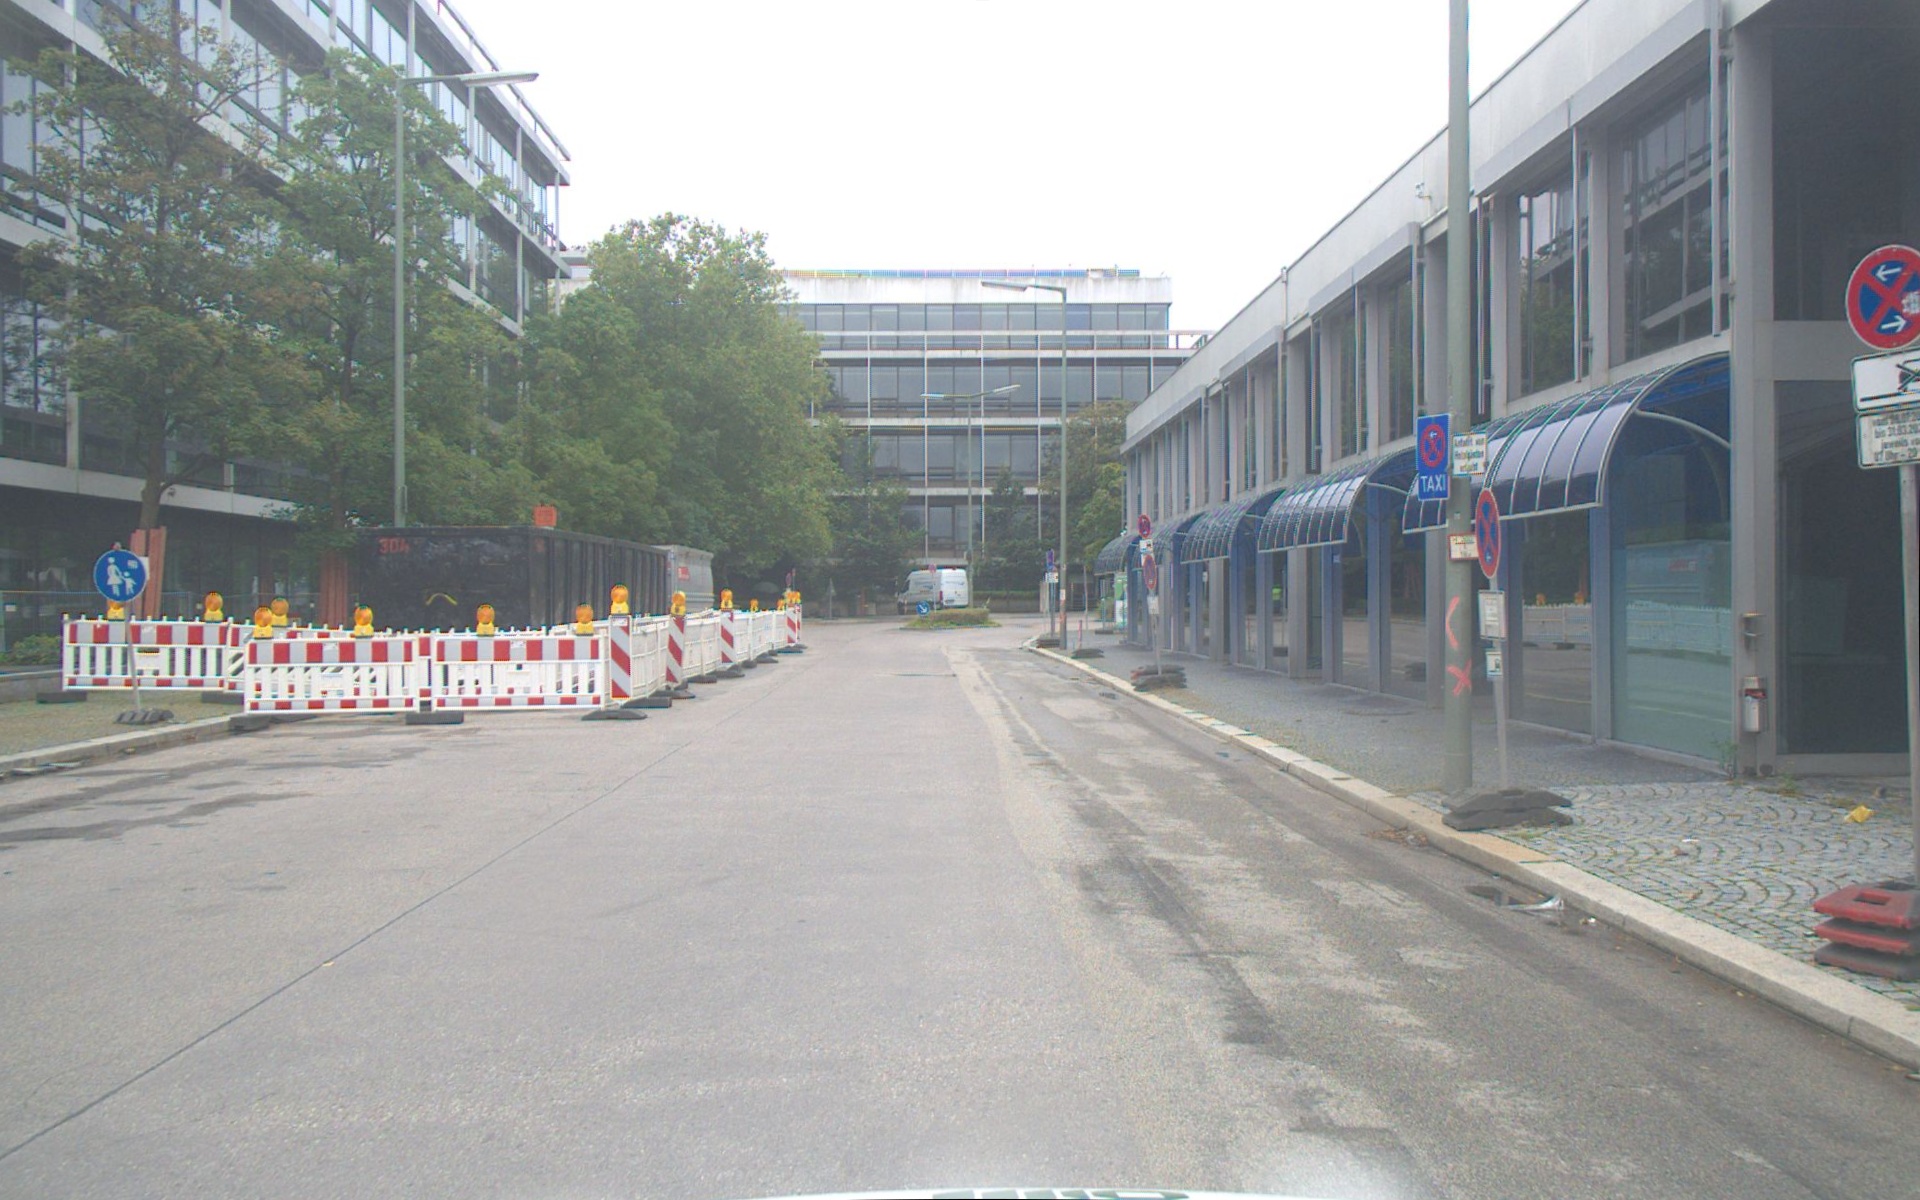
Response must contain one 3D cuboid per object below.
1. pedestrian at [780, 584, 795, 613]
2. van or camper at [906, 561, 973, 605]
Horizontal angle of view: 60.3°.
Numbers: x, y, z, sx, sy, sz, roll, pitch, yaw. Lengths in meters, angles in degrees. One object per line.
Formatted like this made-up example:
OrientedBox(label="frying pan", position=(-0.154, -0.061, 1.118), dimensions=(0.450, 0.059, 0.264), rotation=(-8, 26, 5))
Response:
OrientedBox(label="pedestrian", position=(-10.116, -0.090, 97.141), dimensions=(0.730, 1.706, 0.678), rotation=(0, 0, -21))
OrientedBox(label="van or camper", position=(-1.278, -0.997, 98.598), dimensions=(2.060, 2.535, 5.024), rotation=(0, 0, -26))
